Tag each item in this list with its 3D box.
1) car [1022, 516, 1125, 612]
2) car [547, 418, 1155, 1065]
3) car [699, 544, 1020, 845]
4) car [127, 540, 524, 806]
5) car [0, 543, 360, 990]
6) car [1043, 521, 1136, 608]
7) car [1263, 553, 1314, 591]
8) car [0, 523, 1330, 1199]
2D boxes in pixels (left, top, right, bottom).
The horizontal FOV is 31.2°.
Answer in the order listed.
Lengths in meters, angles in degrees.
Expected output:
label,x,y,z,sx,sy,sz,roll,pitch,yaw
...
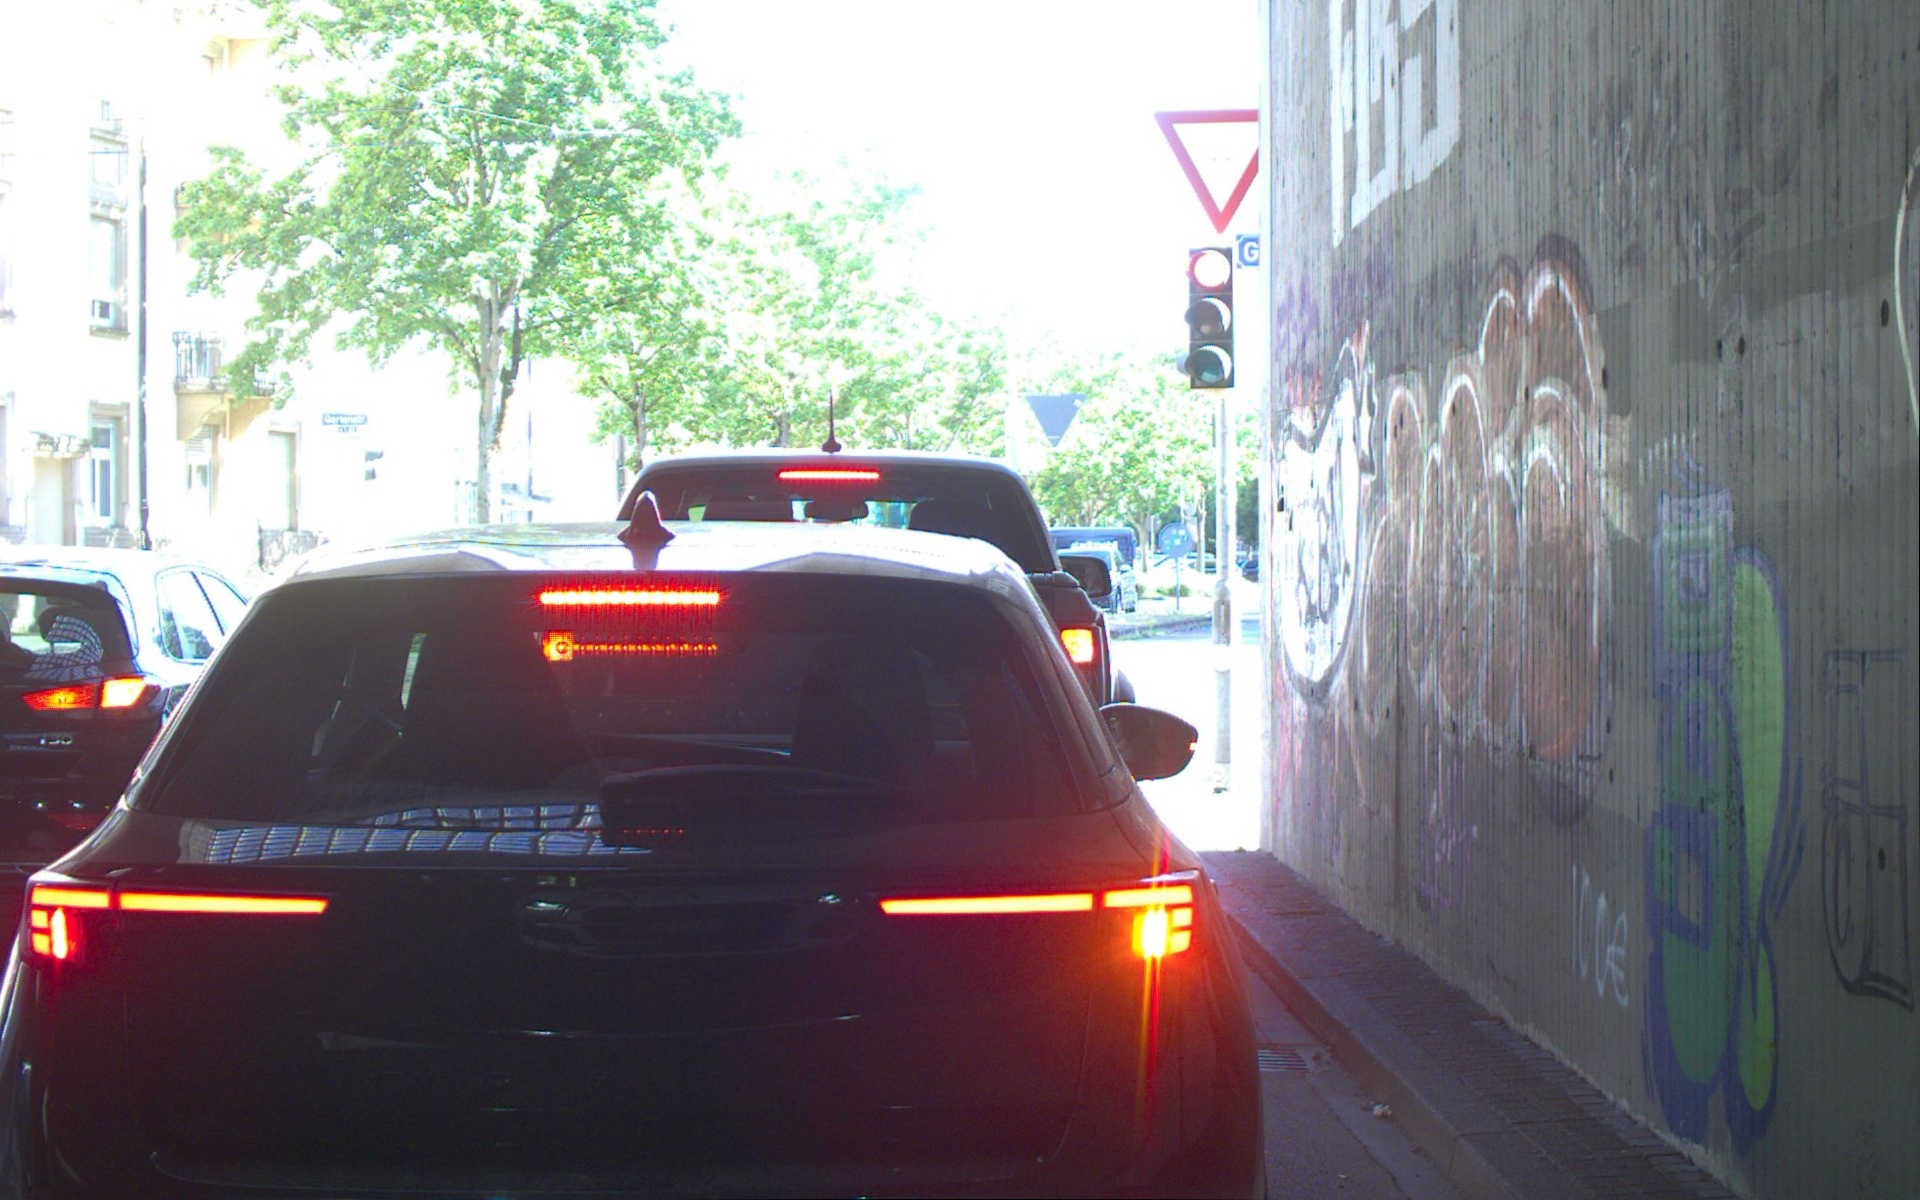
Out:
label,x,y,z,sx,sy,sz,roll,pitch,yaw
car,2.082,-0.644,62.211,1.754,1.661,3.944,1,1,3
car,-0.341,0.378,12.055,1.762,1.876,4.146,0,1,-1
car,-0.526,0.441,19.275,1.609,1.508,4.054,0,1,-1
car,-3.769,0.374,21.026,1.762,1.475,3.844,0,1,-1
car,-3.518,0.520,13.303,1.762,1.475,3.844,0,1,-1
car,2.602,-0.698,68.330,1.754,1.661,3.944,1,1,3
car,15.140,-1.286,158.211,1.818,1.661,4.813,1,1,11
car,-0.468,0.640,6.115,1.762,1.526,4.089,0,1,-1
